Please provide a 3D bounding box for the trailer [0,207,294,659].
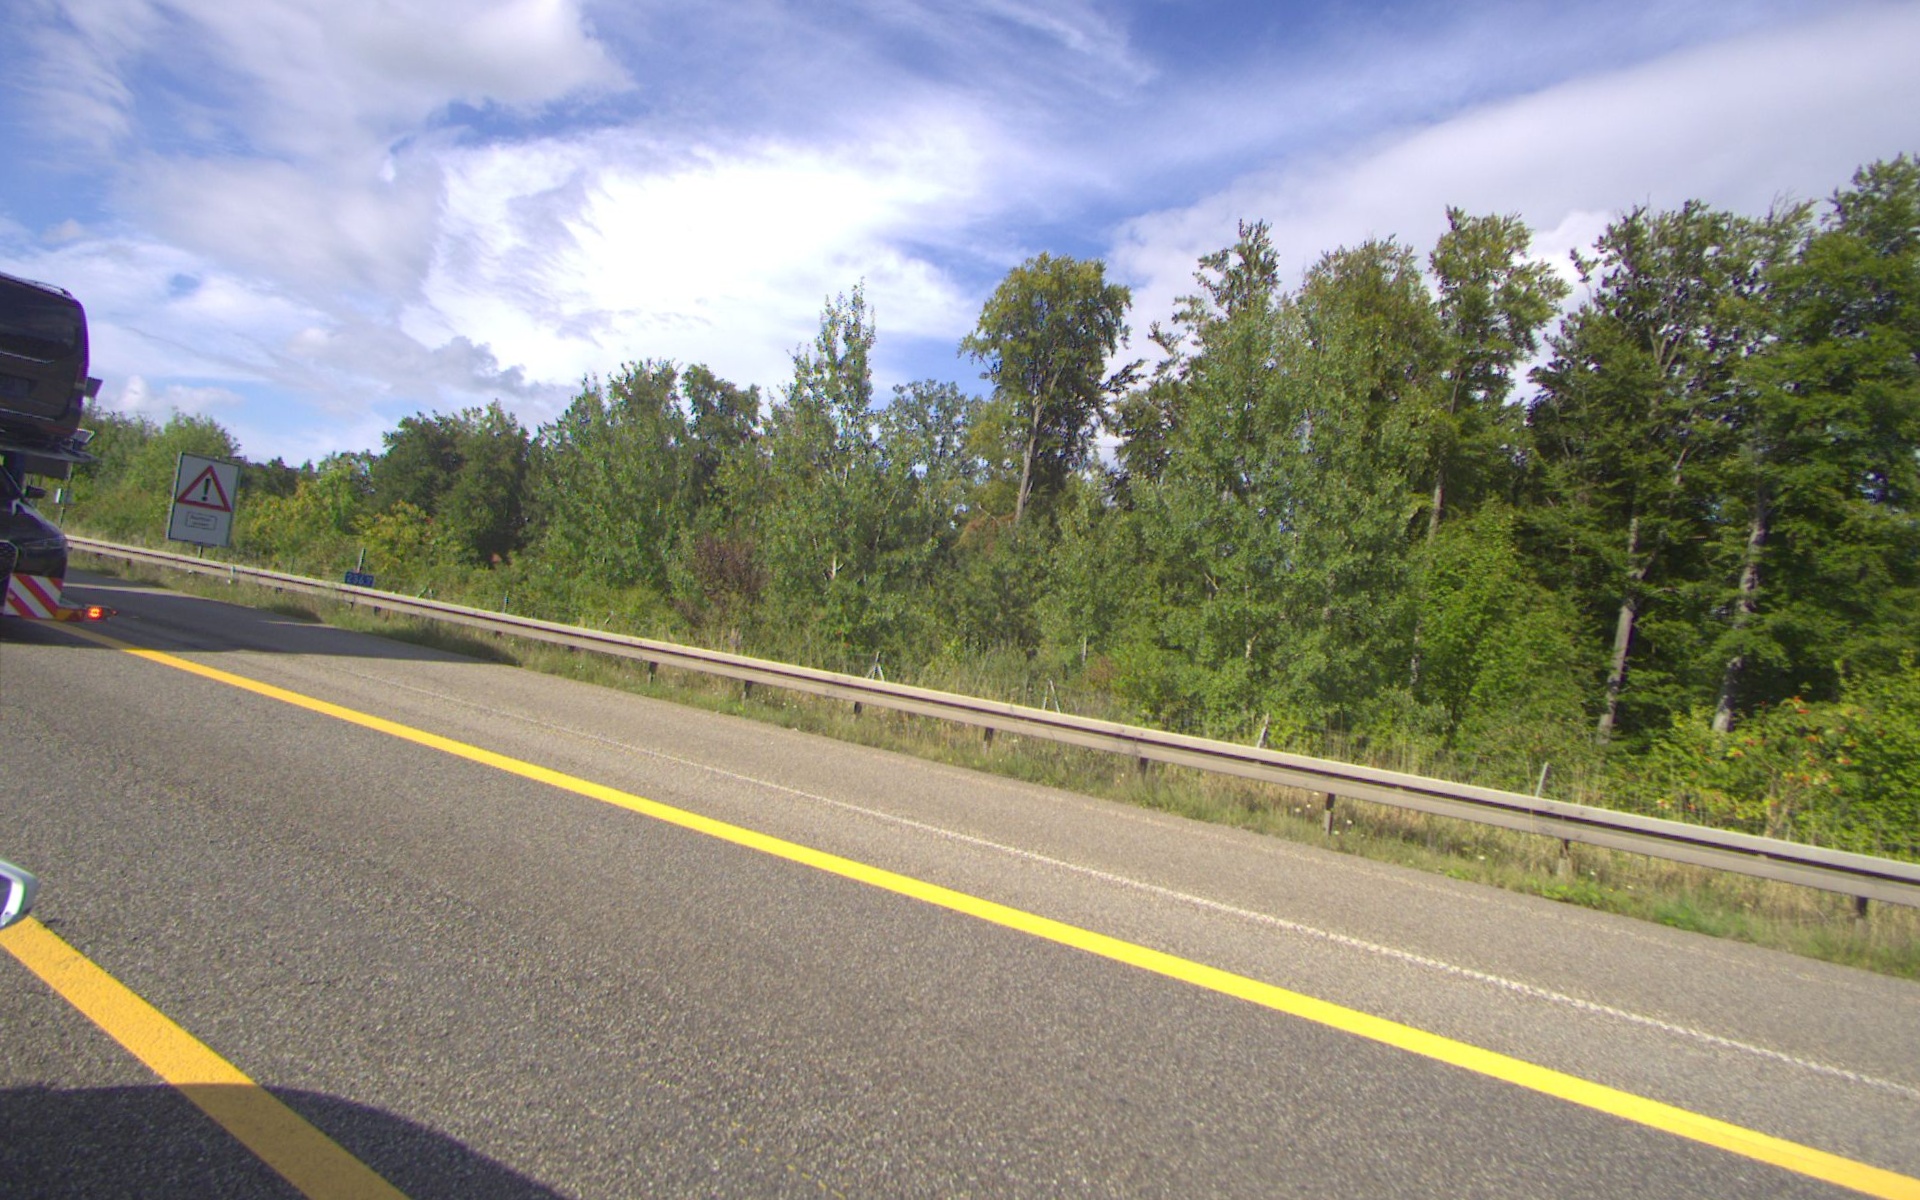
[{"bbox_3d":[-15.888,-2.362,14.496,15.957,4.245,3.734,6,-2,31],"label":"trailer"}]
